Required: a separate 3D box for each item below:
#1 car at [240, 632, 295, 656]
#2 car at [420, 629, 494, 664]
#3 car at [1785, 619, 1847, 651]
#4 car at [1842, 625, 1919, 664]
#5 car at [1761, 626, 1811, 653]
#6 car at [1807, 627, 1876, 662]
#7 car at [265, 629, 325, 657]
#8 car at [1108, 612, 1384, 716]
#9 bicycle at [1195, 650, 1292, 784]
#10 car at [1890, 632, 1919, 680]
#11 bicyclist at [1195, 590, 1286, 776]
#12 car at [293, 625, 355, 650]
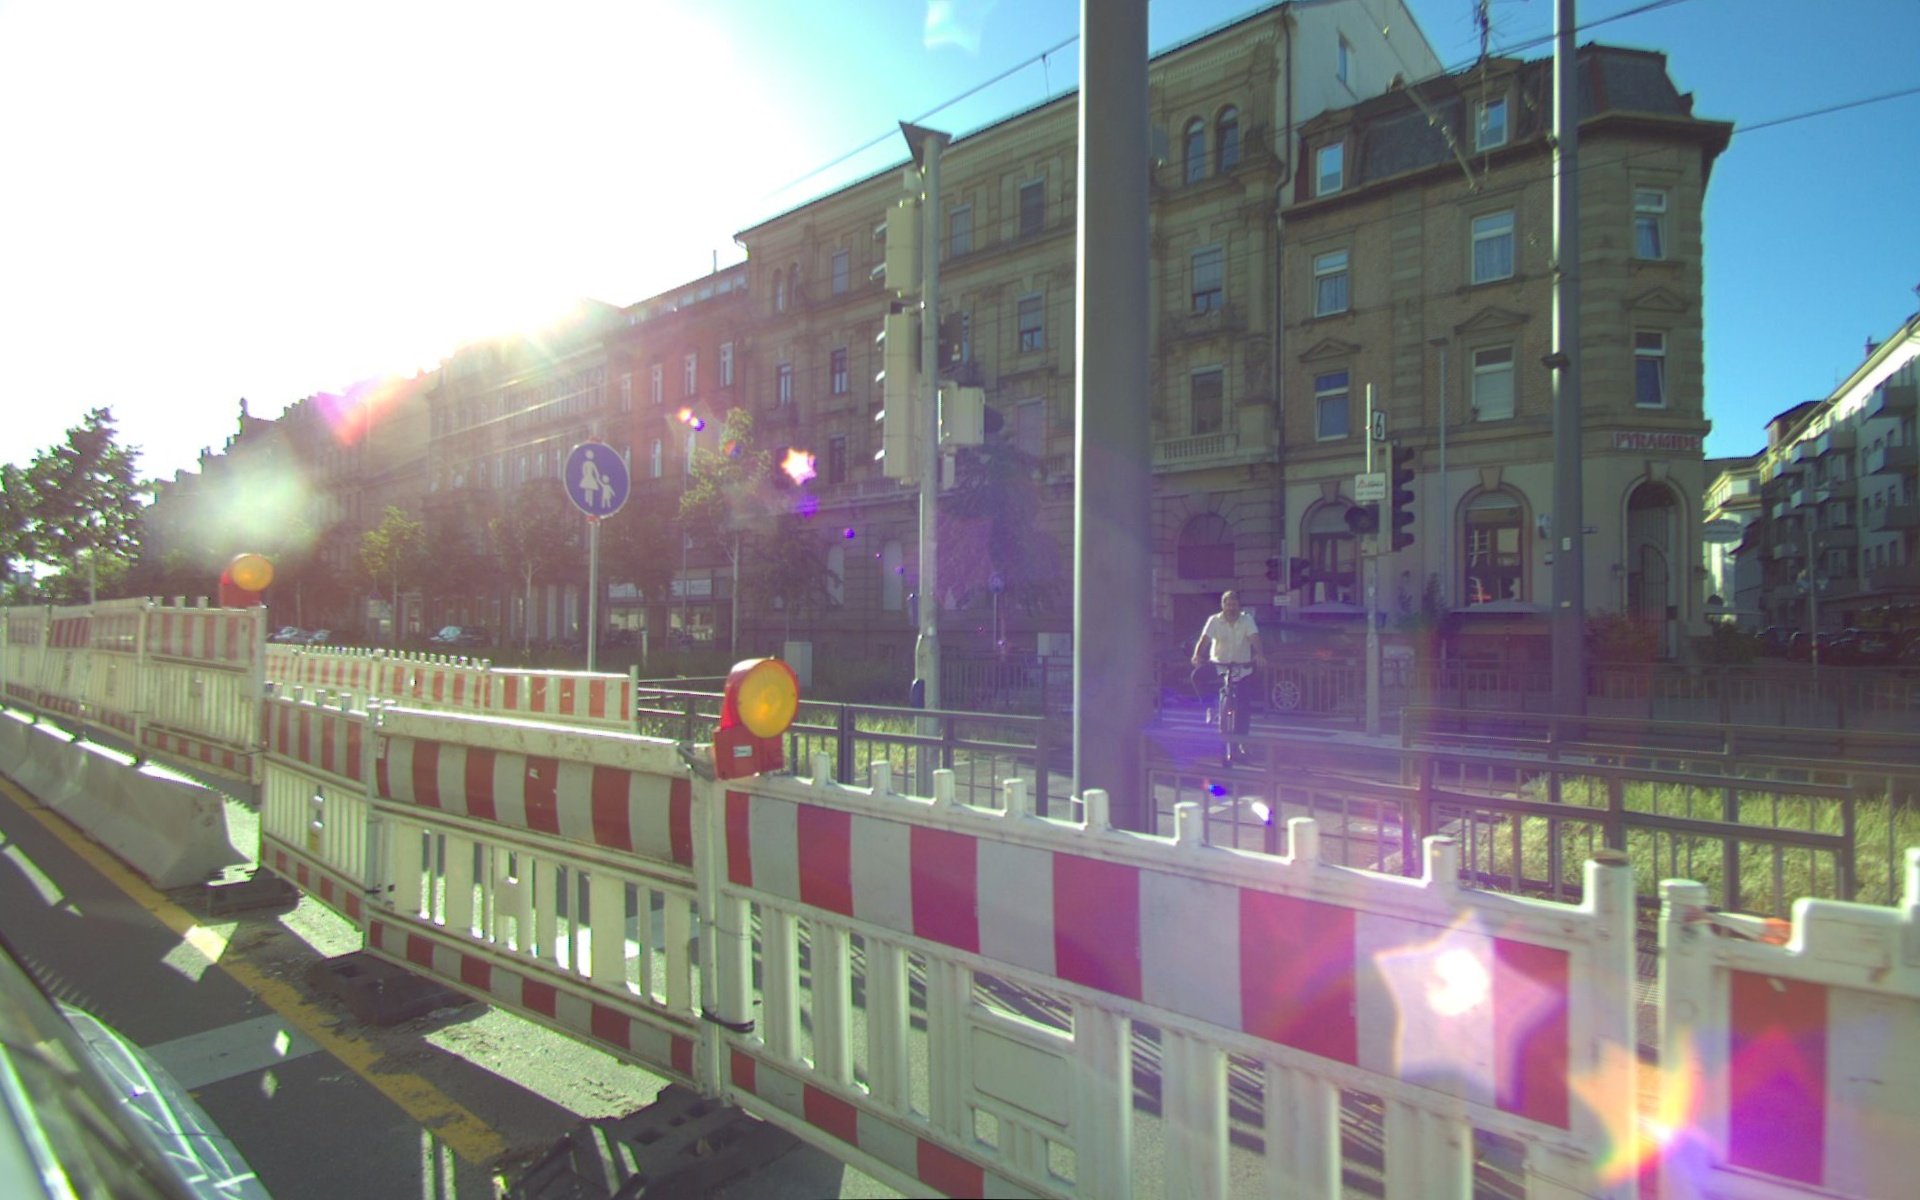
[{"bbox_3d":[-48.202,3.035,70.367,4.982,1.549,1.973,-2,0,41],"label":"car"},{"bbox_3d":[-25.946,2.354,52.114,4.544,1.671,1.917,-2,0,43],"label":"car"},{"bbox_3d":[42.968,1.743,50.869,1.731,1.530,3.752,-1,-2,31],"label":"car"},{"bbox_3d":[37.989,1.808,41.751,1.731,1.530,3.752,-1,-2,31],"label":"car"},{"bbox_3d":[48.526,2.279,59.503,1.731,1.530,3.752,-1,-2,31],"label":"car"},{"bbox_3d":[40.499,2.008,46.588,1.731,1.530,3.752,-1,-2,31],"label":"car"},{"bbox_3d":[-43.522,2.796,66.195,4.884,1.710,1.973,-2,0,40],"label":"car"},{"bbox_3d":[5.032,1.064,18.219,4.475,1.652,1.777,-1,-2,42],"label":"car"},{"bbox_3d":[2.844,1.117,10.264,0.848,1.162,1.988,0,-2,14],"label":"bicycle"},{"bbox_3d":[32.383,1.827,33.382,1.731,1.530,3.752,-1,-2,31],"label":"car"},{"bbox_3d":[2.833,0.809,10.283,0.848,1.787,0.881,0,-2,15],"label":"bicyclist"},{"bbox_3d":[-38.946,2.281,61.945,4.305,1.449,1.973,-2,0,40],"label":"car"}]
